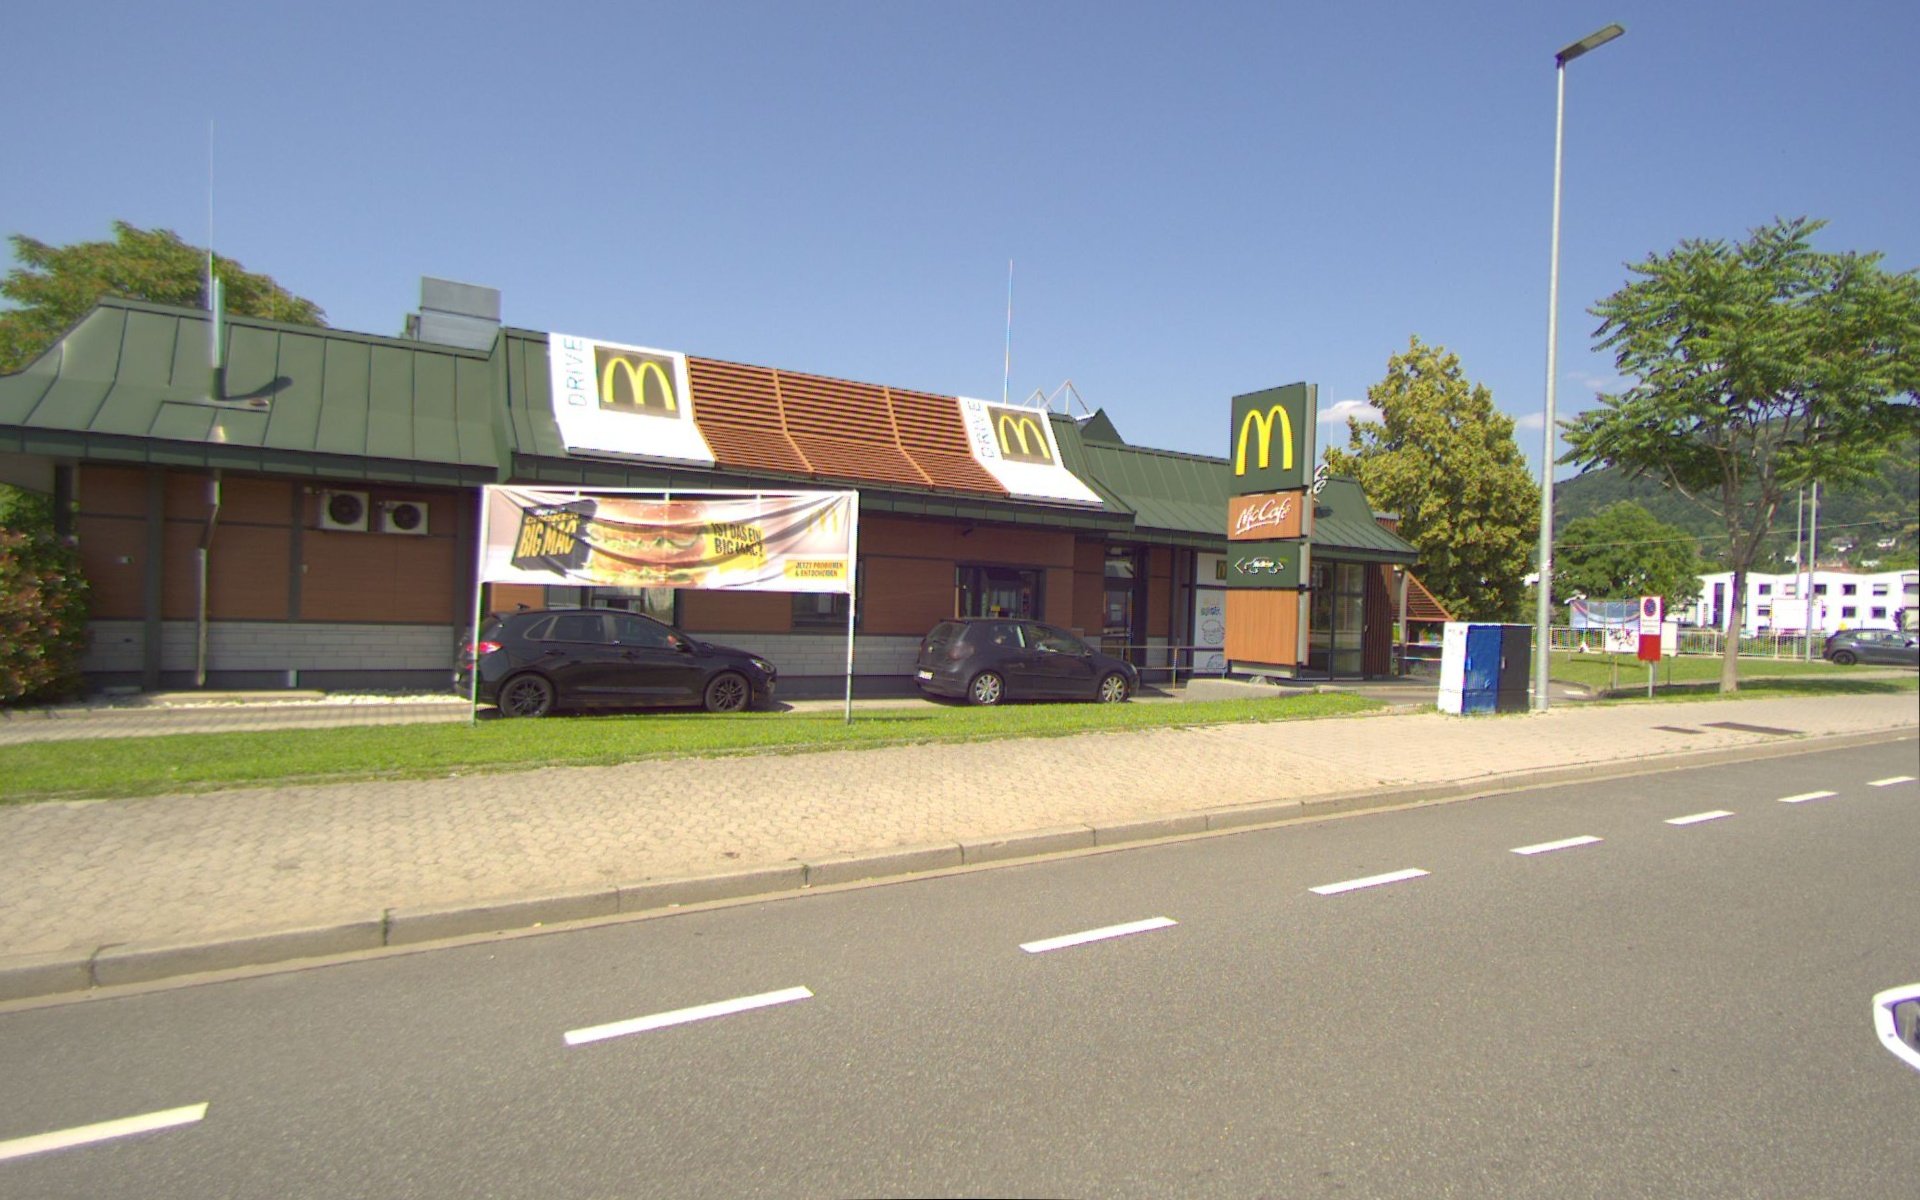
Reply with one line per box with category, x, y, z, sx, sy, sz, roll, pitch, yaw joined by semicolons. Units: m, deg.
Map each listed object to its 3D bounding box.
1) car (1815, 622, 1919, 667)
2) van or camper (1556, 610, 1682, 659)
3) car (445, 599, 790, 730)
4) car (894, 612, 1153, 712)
car;35.981;1.710;38.884;4.269;1.613;1.988;1;0;44
van or camper;26.738;1.350;40.807;3.942;1.595;1.989;4;3;42
car;-4.746;0.820;14.096;4.273;1.496;1.817;1;3;-33
car;1.118;1.023;17.546;4.078;1.435;1.985;1;3;-29
